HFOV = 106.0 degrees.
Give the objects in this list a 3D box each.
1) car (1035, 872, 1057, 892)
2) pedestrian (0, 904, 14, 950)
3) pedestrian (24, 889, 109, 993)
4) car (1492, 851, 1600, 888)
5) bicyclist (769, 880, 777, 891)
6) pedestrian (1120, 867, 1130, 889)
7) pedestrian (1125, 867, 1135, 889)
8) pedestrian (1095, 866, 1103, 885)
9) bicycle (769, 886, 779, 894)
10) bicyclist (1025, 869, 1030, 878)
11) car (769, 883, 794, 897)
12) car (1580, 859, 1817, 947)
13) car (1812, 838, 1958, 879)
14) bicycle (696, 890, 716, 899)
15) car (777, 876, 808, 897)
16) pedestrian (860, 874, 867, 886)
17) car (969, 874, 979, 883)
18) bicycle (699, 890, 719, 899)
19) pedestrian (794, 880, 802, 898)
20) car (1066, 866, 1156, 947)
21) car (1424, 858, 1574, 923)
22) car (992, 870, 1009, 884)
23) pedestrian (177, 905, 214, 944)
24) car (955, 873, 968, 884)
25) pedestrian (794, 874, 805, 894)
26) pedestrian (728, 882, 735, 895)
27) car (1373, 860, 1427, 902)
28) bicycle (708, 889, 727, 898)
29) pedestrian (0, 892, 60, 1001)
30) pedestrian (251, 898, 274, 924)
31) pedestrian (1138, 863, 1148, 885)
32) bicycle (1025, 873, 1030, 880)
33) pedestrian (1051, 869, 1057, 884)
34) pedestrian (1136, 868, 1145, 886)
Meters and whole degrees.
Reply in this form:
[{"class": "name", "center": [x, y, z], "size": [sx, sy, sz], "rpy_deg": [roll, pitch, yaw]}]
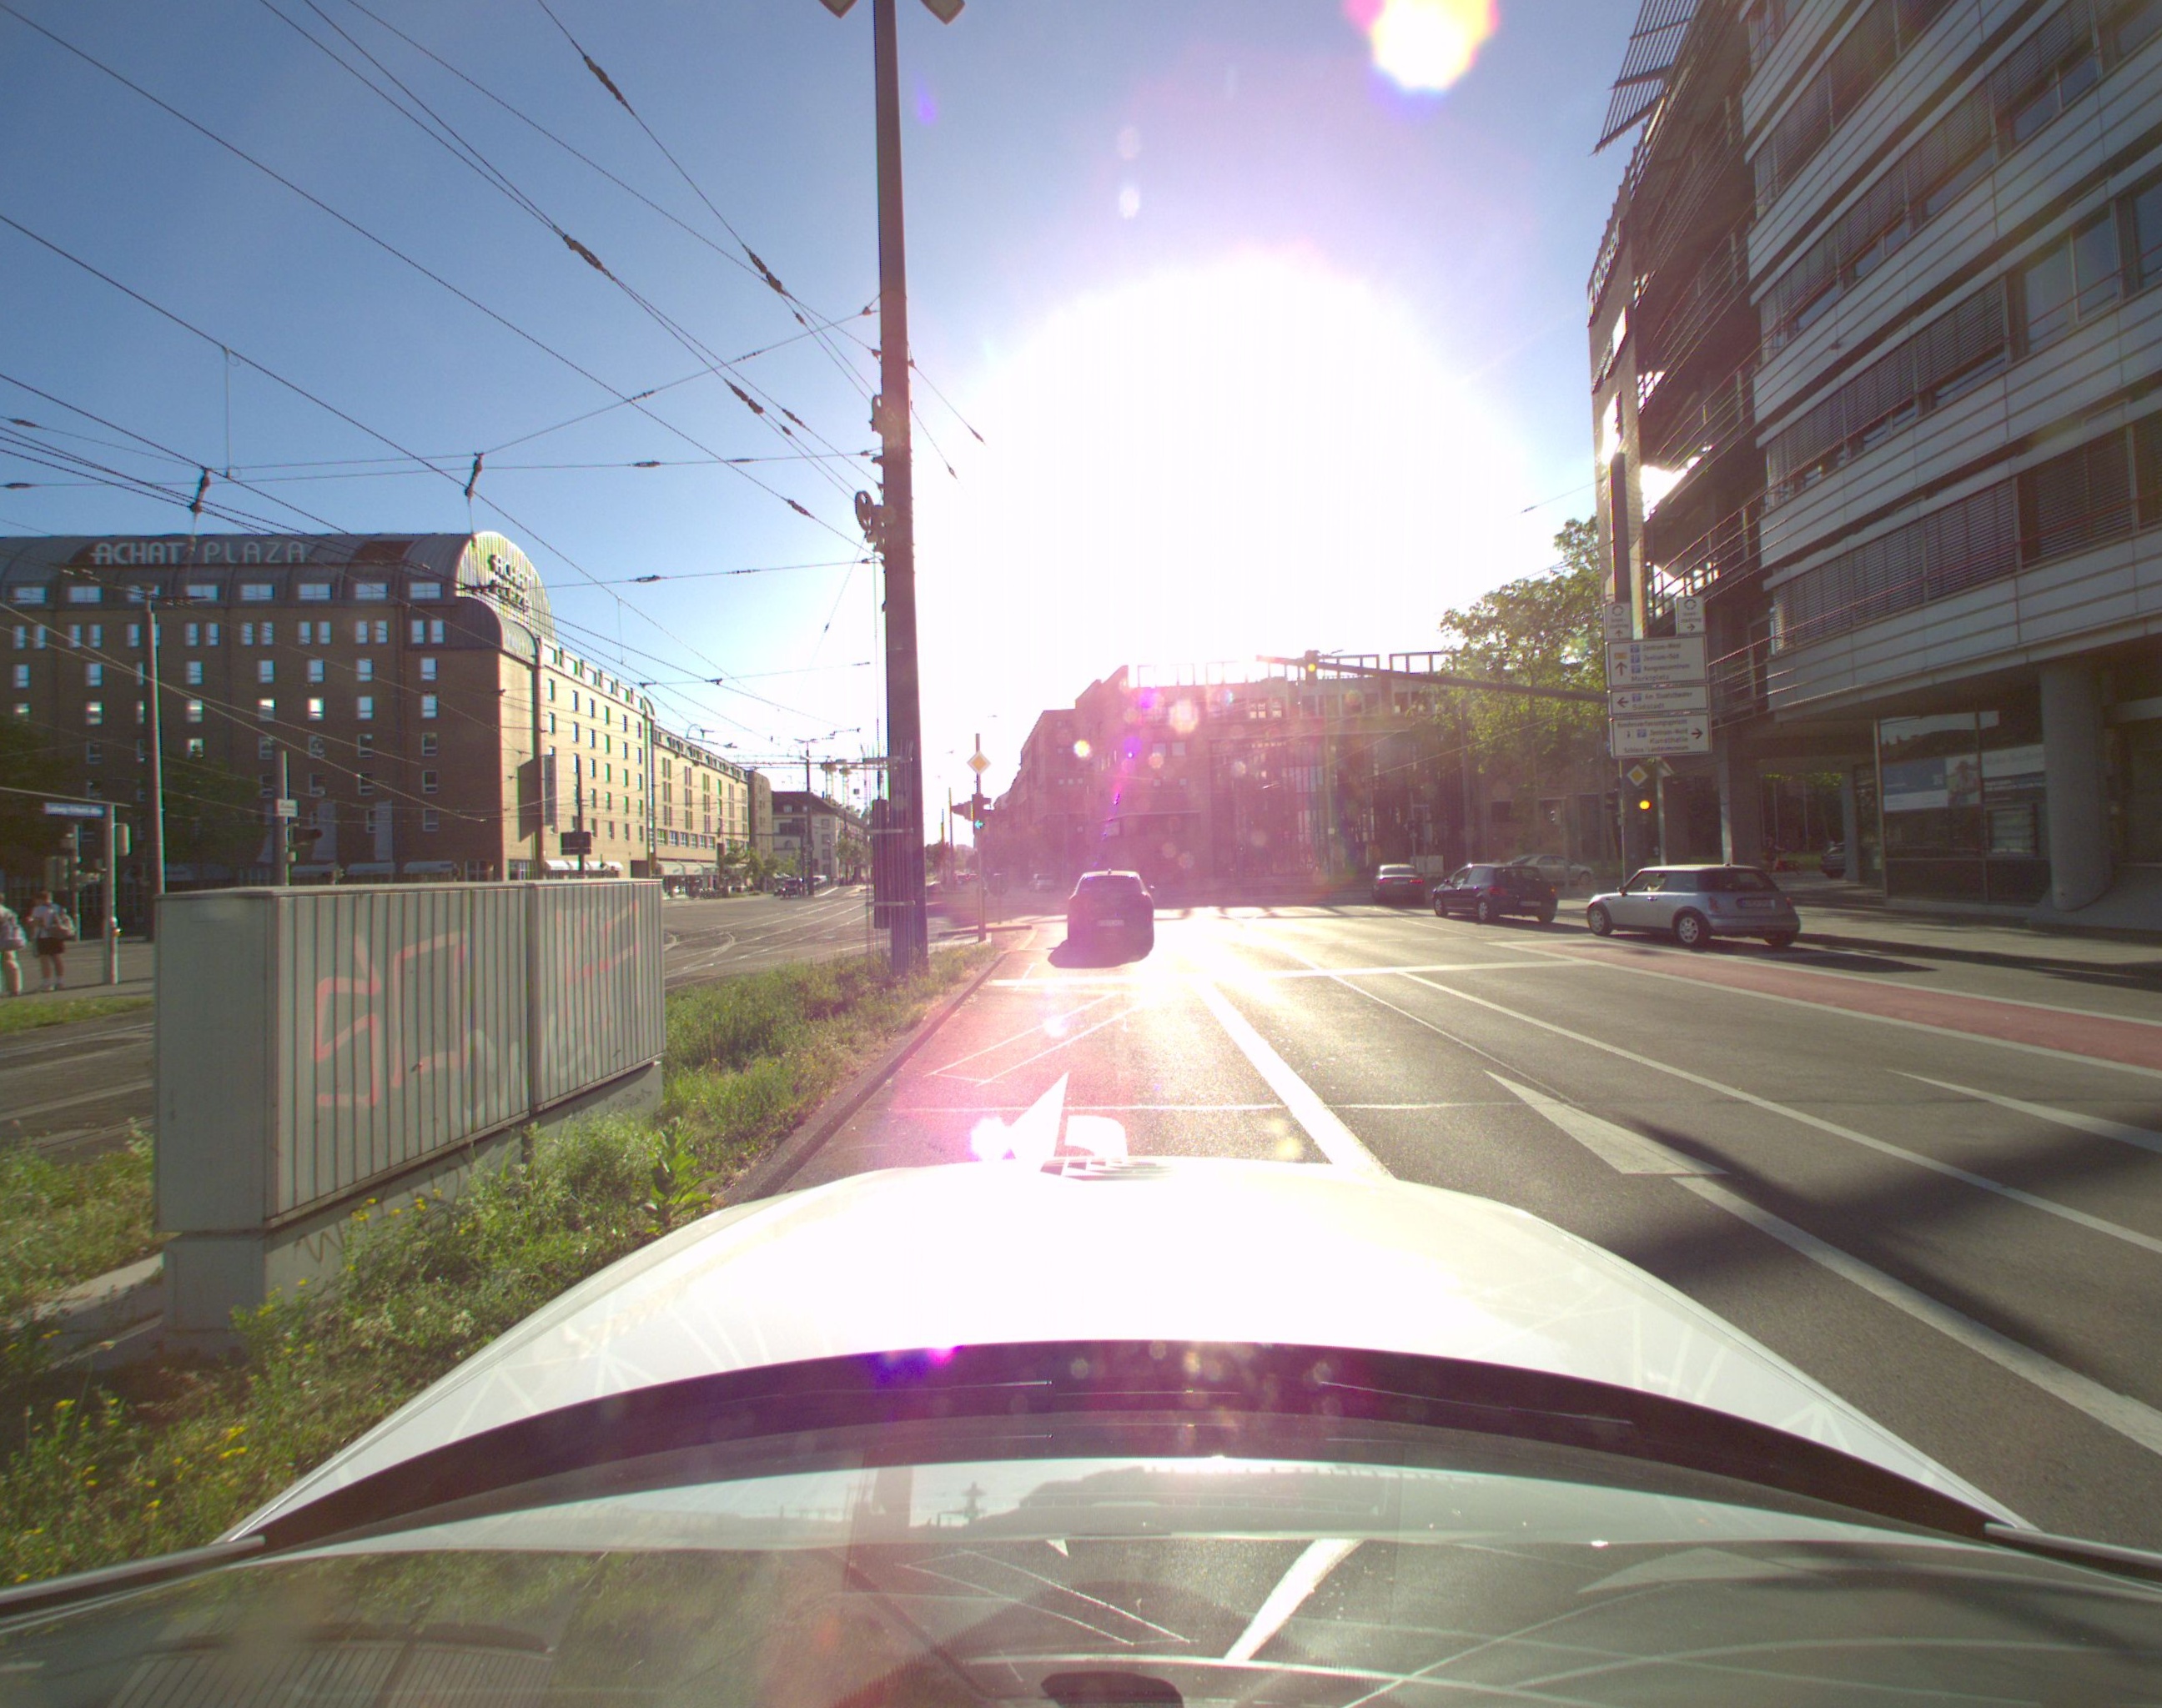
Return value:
[{"class": "car", "center": [-2.767, 2.194, 64.073], "size": [1.558, 1.456, 3.424], "rpy_deg": [-2, -1, -6]}, {"class": "pedestrian", "center": [-40.051, 2.708, 29.843], "size": [0.711, 1.680, 0.832], "rpy_deg": [-2, 0, 2]}, {"class": "pedestrian", "center": [-19.185, 1.623, 15.413], "size": [0.729, 1.870, 0.673], "rpy_deg": [-2, -1, -1]}, {"class": "car", "center": [20.623, 0.684, 36.171], "size": [3.969, 1.475, 1.695], "rpy_deg": [-2, -1, -10]}, {"class": "bicyclist", "center": [-41.702, 4.234, 110.421], "size": [0.810, 1.377, 0.922], "rpy_deg": [-2, -1, -11]}, {"class": "pedestrian", "center": [3.631, 1.963, 67.621], "size": [0.573, 1.786, 0.546], "rpy_deg": [-2, -1, -17]}, {"class": "pedestrian", "center": [4.053, 1.979, 67.060], "size": [0.573, 1.786, 0.546], "rpy_deg": [-2, -1, -17]}, {"class": "pedestrian", "center": [1.731, 2.064, 78.998], "size": [0.639, 1.786, 0.687], "rpy_deg": [-3, -1, -6]}, {"class": "bicycle", "center": [-41.683, 4.919, 110.517], "size": [0.810, 0.991, 2.500], "rpy_deg": [-2, -1, -10]}, {"class": "bicyclist", "center": [-8.101, 2.981, 123.035], "size": [0.645, 1.339, 0.651], "rpy_deg": [-2, -1, -8]}, {"class": "car", "center": [-32.986, 3.964, 89.745], "size": [1.840, 1.268, 4.213], "rpy_deg": [-4, -1, -11]}, {"class": "car", "center": [11.061, 0.829, 14.934], "size": [1.655, 1.389, 3.536], "rpy_deg": [-1, -1, 0]}, {"class": "car", "center": [32.508, 0.173, 33.023], "size": [3.948, 1.475, 1.868], "rpy_deg": [-2, -1, 3]}, {"class": "bicycle", "center": [-42.695, 4.633, 92.790], "size": [2.026, 0.845, 0.483], "rpy_deg": [-3, -1, 1]}, {"class": "car", "center": [-27.976, 3.097, 79.006], "size": [1.837, 1.836, 4.098], "rpy_deg": [-4, -1, -6]}, {"class": "pedestrian", "center": [-30.727, 3.615, 115.142], "size": [0.863, 1.670, 0.779], "rpy_deg": [-1, 0, -19]}, {"class": "car", "center": [-18.622, 4.171, 141.693], "size": [1.720, 1.453, 3.686], "rpy_deg": [-3, -1, -9]}, {"class": "bicycle", "center": [-42.962, 4.630, 94.006], "size": [2.026, 0.921, 0.483], "rpy_deg": [-3, -1, 1]}, {"class": "pedestrian", "center": [-24.758, 3.049, 71.295], "size": [0.583, 1.577, 0.642], "rpy_deg": [-1, -2, -23]}, {"class": "car", "center": [0.624, 1.013, 17.072], "size": [1.665, 1.502, 3.692], "rpy_deg": [-1, -1, 2]}, {"class": "car", "center": [10.830, 0.903, 21.463], "size": [1.855, 1.475, 3.976], "rpy_deg": [-2, -1, 0]}, {"class": "car", "center": [-9.241, 2.620, 93.453], "size": [1.670, 1.453, 3.686], "rpy_deg": [-3, -1, -9]}, {"class": "pedestrian", "center": [-40.452, 3.223, 37.215], "size": [0.713, 1.680, 0.829], "rpy_deg": [-2, 0, -7]}, {"class": "car", "center": [-16.939, 3.501, 115.129], "size": [1.720, 1.453, 3.686], "rpy_deg": [-3, -1, -9]}, {"class": "pedestrian", "center": [-24.000, 2.544, 69.471], "size": [0.720, 1.727, 0.593], "rpy_deg": [-2, -1, -8]}, {"class": "pedestrian", "center": [-48.530, 4.822, 113.175], "size": [0.716, 1.764, 0.564], "rpy_deg": [-3, -1, -7]}, {"class": "car", "center": [11.865, 0.999, 30.483], "size": [1.681, 1.440, 4.038], "rpy_deg": [-2, -2, 19]}, {"class": "bicycle", "center": [-42.554, 4.627, 95.308], "size": [2.026, 0.921, 0.483], "rpy_deg": [-3, -1, 1]}, {"class": "pedestrian", "center": [-19.000, 1.638, 14.498], "size": [0.729, 1.870, 0.699], "rpy_deg": [-2, -1, 1]}, {"class": "pedestrian", "center": [-56.377, 3.923, 56.096], "size": [0.750, 1.666, 0.739], "rpy_deg": [-2, -1, -7]}, {"class": "pedestrian", "center": [5.219, 1.698, 68.909], "size": [0.573, 1.786, 0.546], "rpy_deg": [-2, -1, -17]}, {"class": "bicycle", "center": [-8.104, 3.409, 123.152], "size": [0.648, 0.904, 2.339], "rpy_deg": [-2, -1, -7]}, {"class": "pedestrian", "center": [-3.278, 2.718, 98.514], "size": [0.547, 1.786, 0.572], "rpy_deg": [-2, 1, -6]}, {"class": "pedestrian", "center": [5.114, 1.961, 70.056], "size": [0.550, 1.477, 0.568], "rpy_deg": [-2, -1, -27]}]
